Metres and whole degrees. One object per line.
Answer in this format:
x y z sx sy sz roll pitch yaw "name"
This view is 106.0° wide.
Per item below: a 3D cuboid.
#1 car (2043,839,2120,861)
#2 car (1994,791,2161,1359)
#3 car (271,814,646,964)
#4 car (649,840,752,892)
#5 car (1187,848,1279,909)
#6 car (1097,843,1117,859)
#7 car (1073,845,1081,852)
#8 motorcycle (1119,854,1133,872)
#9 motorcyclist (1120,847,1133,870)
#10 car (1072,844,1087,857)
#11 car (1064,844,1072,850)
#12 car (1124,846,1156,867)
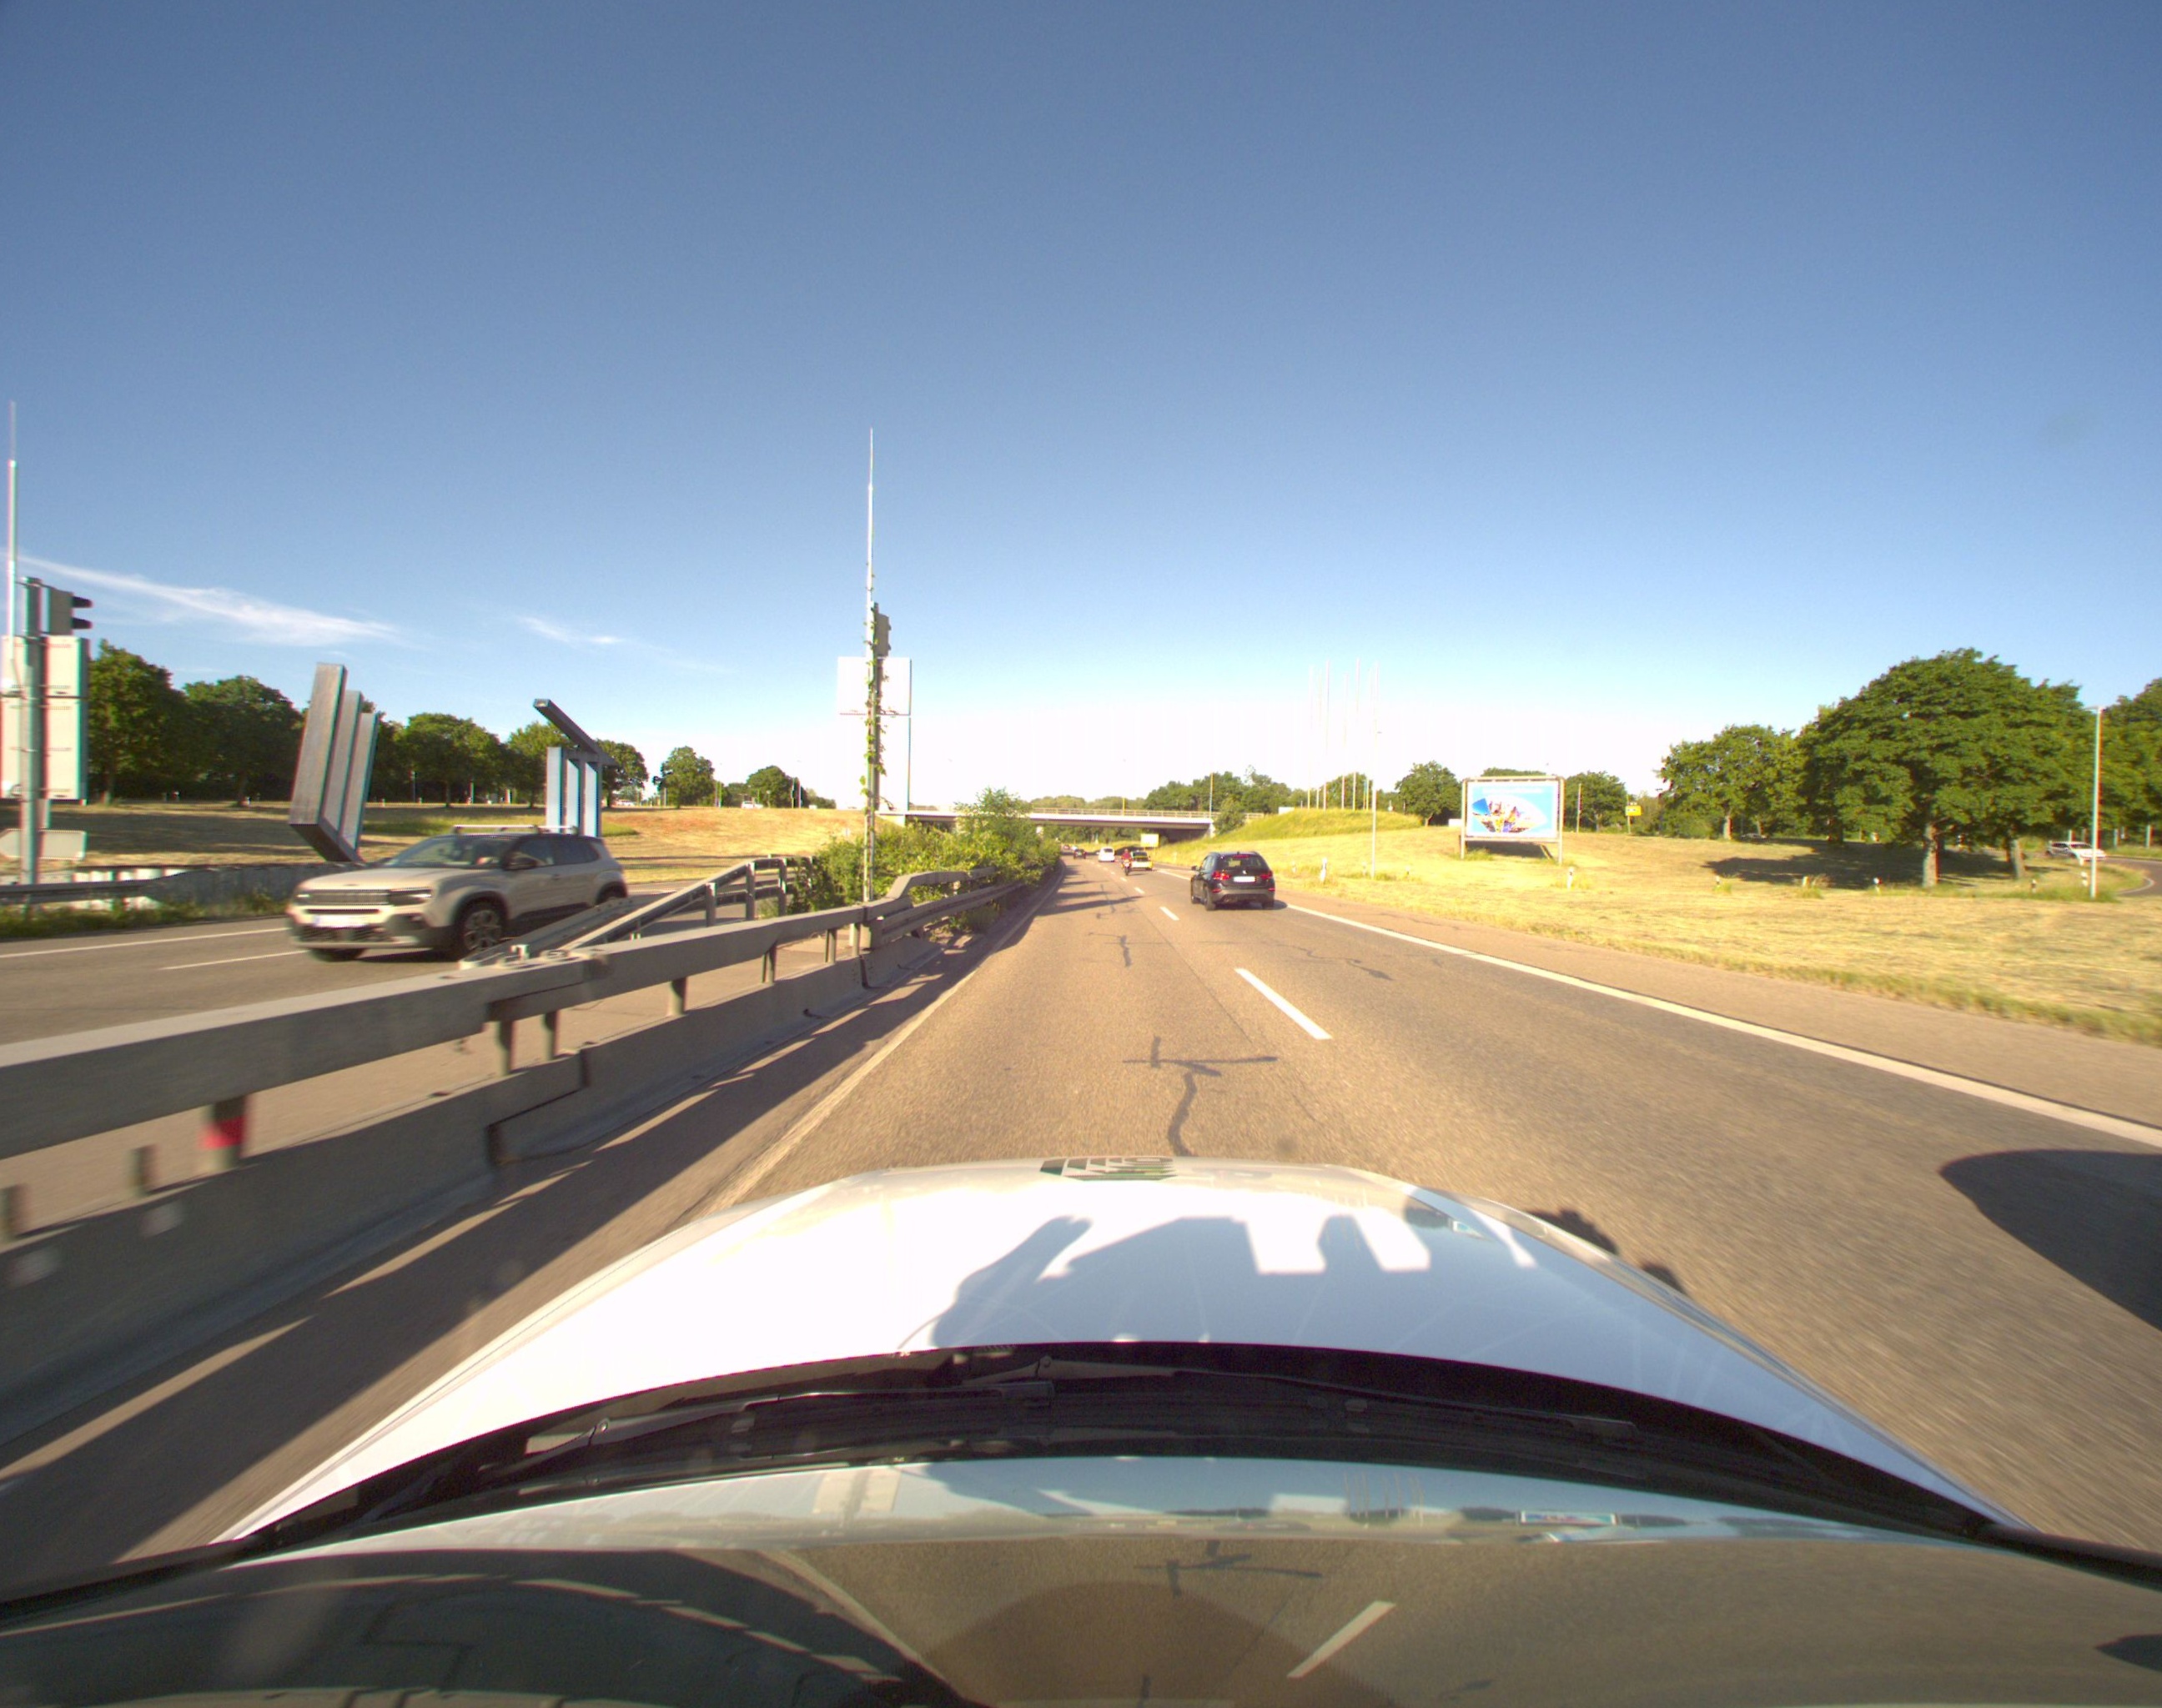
80.731 -0.375 65.784 1.850 1.691 4.015 0 1 13 "car"
3.843 0.631 0.417 1.749 1.573 4.521 0 1 1 "car"
-7.672 0.354 10.672 1.711 1.575 4.162 0 0 0 "car"
-11.641 0.333 25.162 1.604 1.485 3.391 0 0 0 "car"
4.106 0.597 22.667 1.693 1.506 4.578 -1 0 0 "car"
2.992 -0.393 95.412 1.893 1.767 3.994 -1 0 -4 "car"
-0.996 -1.364 202.872 1.864 1.685 3.997 1 0 -2 "car"
2.828 0.573 51.030 0.813 1.069 2.838 0 1 3 "motorcycle"
2.835 0.291 51.059 0.813 1.447 1.094 0 0 2 "motorcyclist"
-0.235 -0.484 116.486 1.893 1.767 3.996 -1 1 -3 "car"
-3.577 -1.849 220.912 1.864 1.685 3.996 1 0 -3 "car"
4.466 0.166 62.114 1.893 1.470 3.995 -1 1 -3 "car"
